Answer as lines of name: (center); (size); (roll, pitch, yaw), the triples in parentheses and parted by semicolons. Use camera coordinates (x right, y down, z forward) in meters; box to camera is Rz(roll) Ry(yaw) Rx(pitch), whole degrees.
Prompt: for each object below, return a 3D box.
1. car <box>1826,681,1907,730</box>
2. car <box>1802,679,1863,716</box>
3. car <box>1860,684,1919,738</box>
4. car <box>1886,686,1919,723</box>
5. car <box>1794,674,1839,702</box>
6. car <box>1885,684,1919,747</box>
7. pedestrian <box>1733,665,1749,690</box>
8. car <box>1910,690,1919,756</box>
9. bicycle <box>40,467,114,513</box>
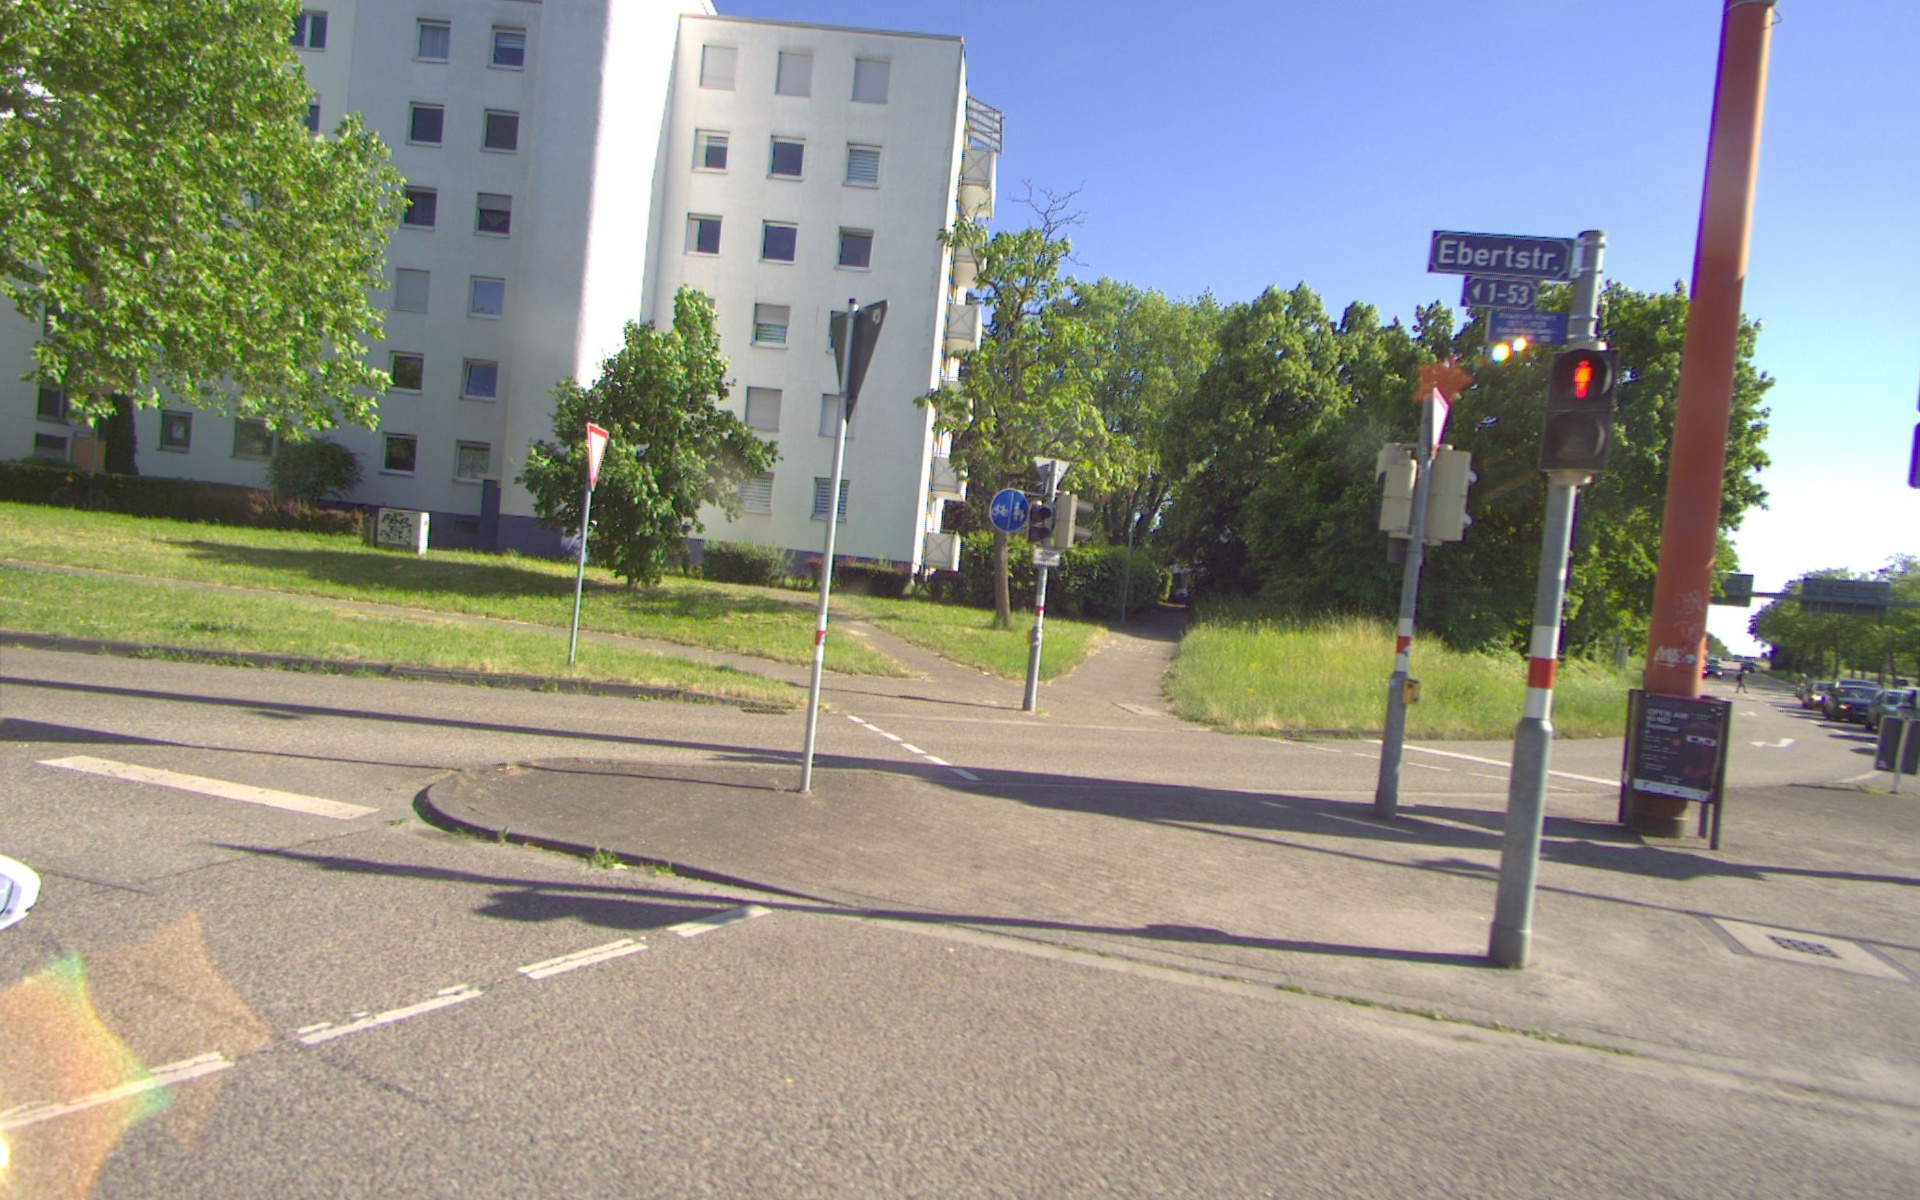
car: (34.860, 4.002, 38.781); (1.772, 1.529, 3.985); (5, 0, 36)
car: (43.090, 4.774, 49.758); (1.772, 1.529, 3.985); (5, 0, 36)
car: (31.073, 3.647, 33.013); (1.772, 1.529, 3.985); (5, 0, 36)
car: (45.385, 4.986, 47.674); (1.773, 1.529, 3.983); (5, 0, 38)
car: (55.797, 5.722, 65.602); (1.772, 1.529, 3.985); (5, 0, 36)
car: (27.412, 3.289, 28.060); (1.772, 1.605, 3.985); (5, 0, 36)
pedestrian: (53.876, 5.348, 69.382); (0.639, 1.683, 0.648); (7, 2, 31)
car: (22.829, 2.913, 22.432); (1.772, 1.529, 3.985); (5, 0, 36)
bicycle: (-25.844, -3.209, 29.456); (1.766, 1.124, 0.499); (6, 7, 2)
